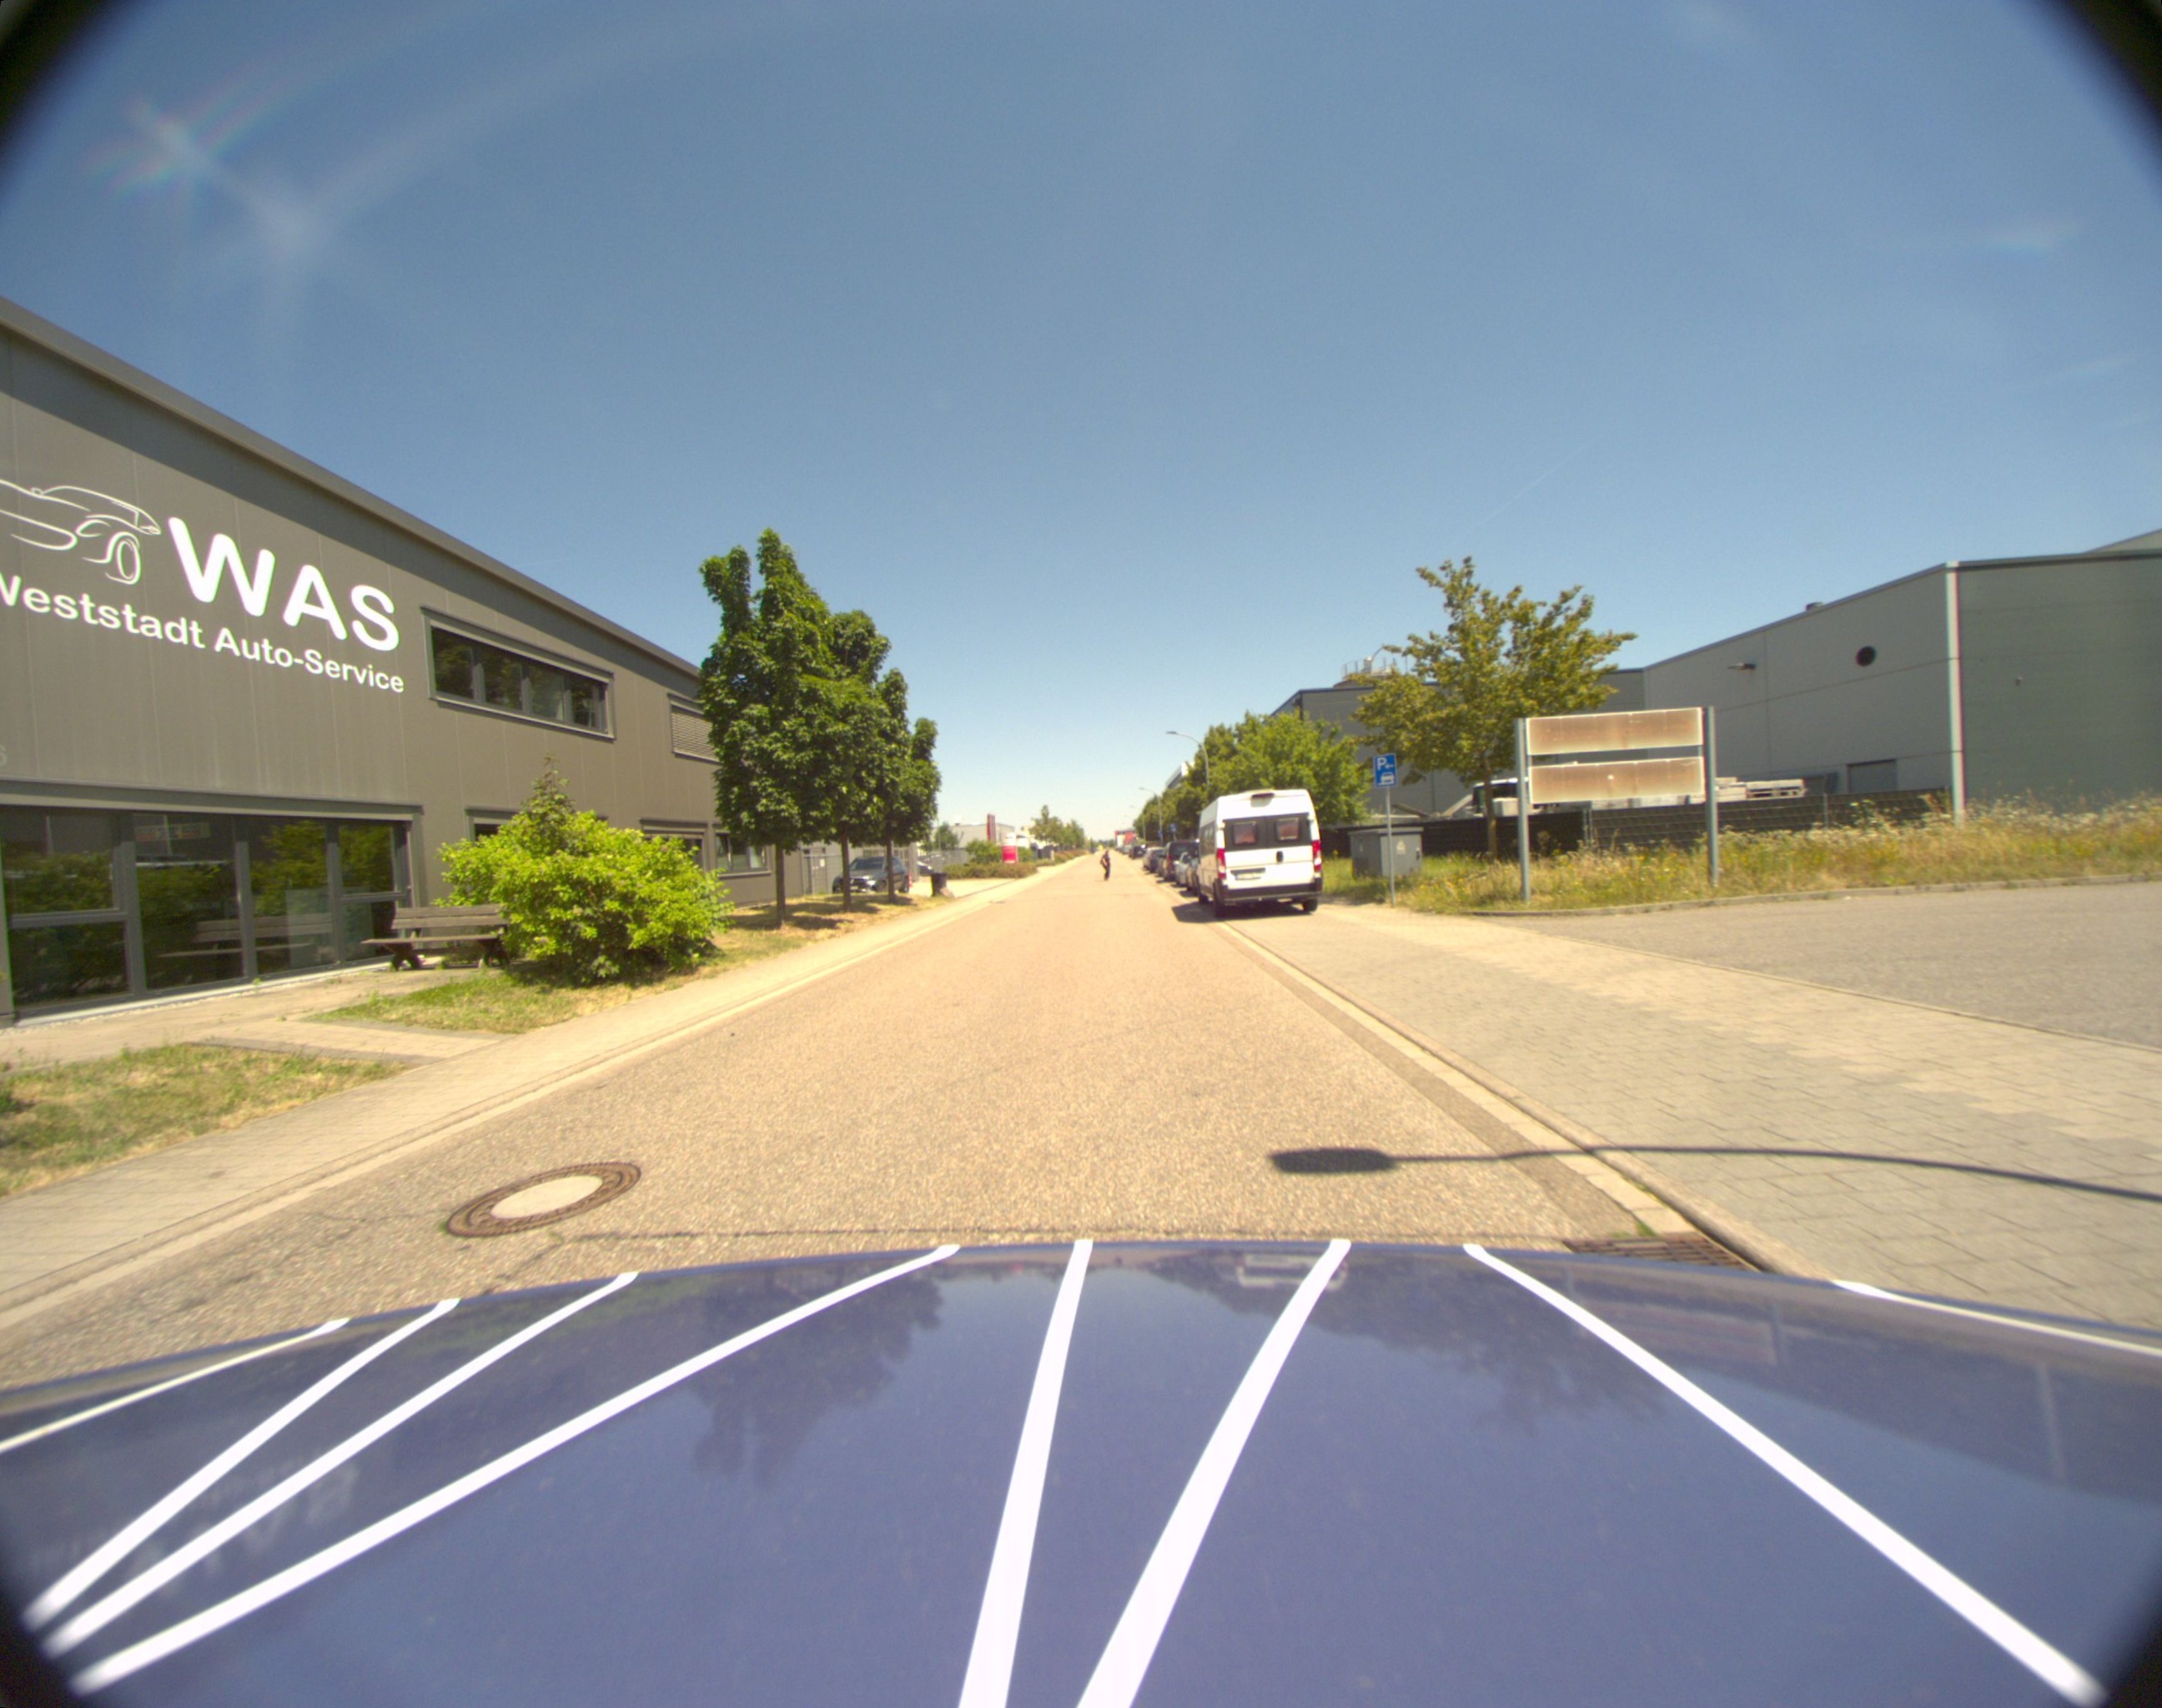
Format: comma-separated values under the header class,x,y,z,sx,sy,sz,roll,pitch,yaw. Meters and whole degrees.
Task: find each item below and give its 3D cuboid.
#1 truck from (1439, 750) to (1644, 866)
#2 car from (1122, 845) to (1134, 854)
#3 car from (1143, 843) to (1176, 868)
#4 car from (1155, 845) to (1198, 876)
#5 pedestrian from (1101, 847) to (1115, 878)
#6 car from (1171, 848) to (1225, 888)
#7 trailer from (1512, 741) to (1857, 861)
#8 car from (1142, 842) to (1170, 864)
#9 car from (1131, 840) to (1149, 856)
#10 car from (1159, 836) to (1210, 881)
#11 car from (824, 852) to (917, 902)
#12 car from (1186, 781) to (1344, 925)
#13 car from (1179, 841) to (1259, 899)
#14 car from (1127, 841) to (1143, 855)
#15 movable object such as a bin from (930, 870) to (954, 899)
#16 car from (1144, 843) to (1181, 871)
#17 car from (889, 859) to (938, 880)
class,x,y,z,sx,sy,sz,roll,pitch,yaw
truck,17.649,-1.712,29.347,6.054,3.948,3.154,-3,1,-9
car,8.141,-0.791,131.108,1.798,1.319,3.831,-5,1,1
car,5.391,0.079,52.698,1.798,1.477,4.189,-5,1,1
car,5.071,0.300,40.835,1.798,1.456,4.452,-5,1,2
pedestrian,1.403,0.419,39.216,0.680,1.559,0.534,-2,1,-1
car,4.473,0.489,29.419,1.647,1.303,4.001,-5,1,4
trailer,24.056,-2.091,30.421,12.538,3.948,3.154,-3,1,-10
car,5.748,-0.069,58.539,1.798,1.477,3.969,-5,1,1
car,6.870,-0.697,89.277,1.798,1.638,3.831,-5,1,1
car,4.619,0.168,34.401,1.835,1.800,4.083,-5,1,3
car,-8.702,0.877,31.958,2.156,1.800,4.915,-2,1,5
car,3.942,-0.049,17.621,2.328,2.583,6.085,-5,1,3
car,4.290,0.434,24.266,1.835,1.532,4.625,-5,1,3
car,7.156,-0.820,100.245,1.798,1.701,3.831,-5,1,1
movable object such as a bin,-5.424,1.185,29.670,0.616,1.040,0.810,-2,1,14
car,4.956,0.147,46.807,1.798,1.477,4.451,-5,1,2
car,-13.059,1.169,59.300,3.359,1.361,1.792,-4,1,-2
